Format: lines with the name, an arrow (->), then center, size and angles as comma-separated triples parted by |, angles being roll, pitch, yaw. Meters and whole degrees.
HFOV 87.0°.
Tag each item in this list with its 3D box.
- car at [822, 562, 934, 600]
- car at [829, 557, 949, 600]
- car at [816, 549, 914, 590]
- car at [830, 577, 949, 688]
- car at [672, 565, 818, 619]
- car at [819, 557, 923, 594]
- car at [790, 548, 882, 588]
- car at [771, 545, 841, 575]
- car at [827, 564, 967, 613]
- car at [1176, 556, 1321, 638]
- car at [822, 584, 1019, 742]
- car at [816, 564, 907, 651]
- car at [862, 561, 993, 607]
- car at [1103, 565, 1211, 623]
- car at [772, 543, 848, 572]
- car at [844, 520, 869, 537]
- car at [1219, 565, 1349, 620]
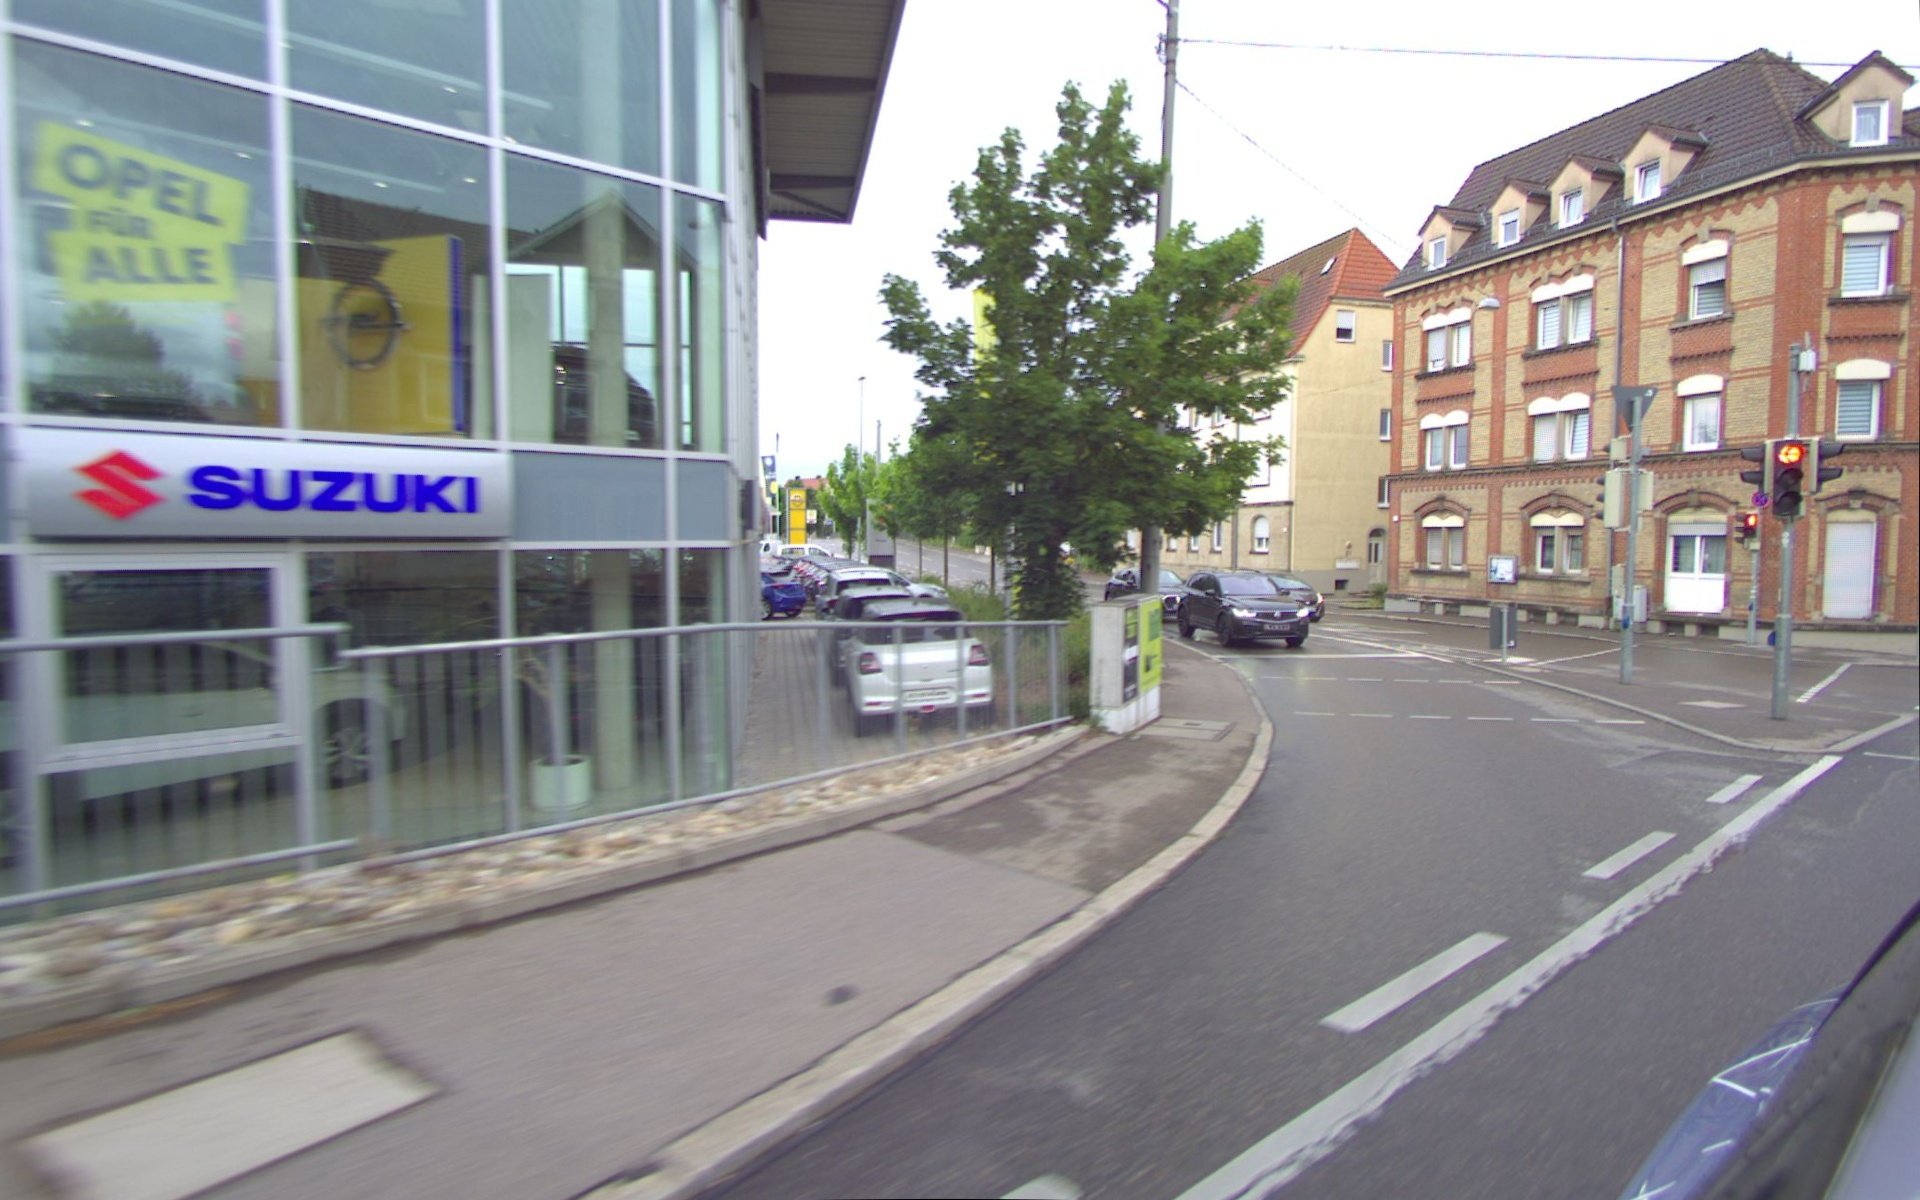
car -> -3.054, -0.711, 37.290 | 3.917, 1.265, 1.728 | 1, 2, -11
car -> -2.494, -0.746, 35.140 | 3.917, 1.323, 1.728 | 1, 2, -11
car -> -4.037, -1.300, 42.823 | 3.917, 1.615, 1.727 | 1, 2, -11
car -> -1.341, 0.457, 17.635 | 1.788, 1.548, 4.008 | -1, 3, -8
car -> -6.313, -0.265, 29.714 | 3.960, 1.471, 1.809 | 1, 2, 26
car -> -3.575, -0.977, 40.244 | 3.917, 1.323, 1.728 | 1, 2, -11
car -> -5.562, -1.447, 45.164 | 3.917, 1.615, 1.727 | 1, 2, -11
car -> -8.559, -2.208, 56.155 | 3.734, 1.508, 1.728 | 1, 2, -11
car -> -1.897, -0.356, 30.044 | 3.917, 1.288, 1.728 | 1, 2, -11
car -> 6.548, -0.152, 23.487 | 1.768, 1.683, 4.262 | 1, 3, -5
car -> -0.692, 0.667, 13.363 | 1.859, 1.526, 4.010 | -3, 3, -12
car -> -2.221, 0.079, 22.109 | 1.788, 1.611, 4.008 | -1, 3, -8
car -> -1.059, -0.532, 32.326 | 3.917, 1.300, 1.728 | 1, 2, -11
car -> 5.886, -0.233, 30.804 | 1.767, 1.523, 4.265 | 1, 3, -10
car -> -8.839, -2.505, 59.535 | 4.286, 1.508, 1.728 | 1, 2, -11
car -> -11.065, -7.604, 107.991 | 1.850, 1.637, 4.011 | 1, 3, -17
car -> 10.092, -0.285, 31.840 | 1.805, 1.471, 4.011 | 2, 3, -18
